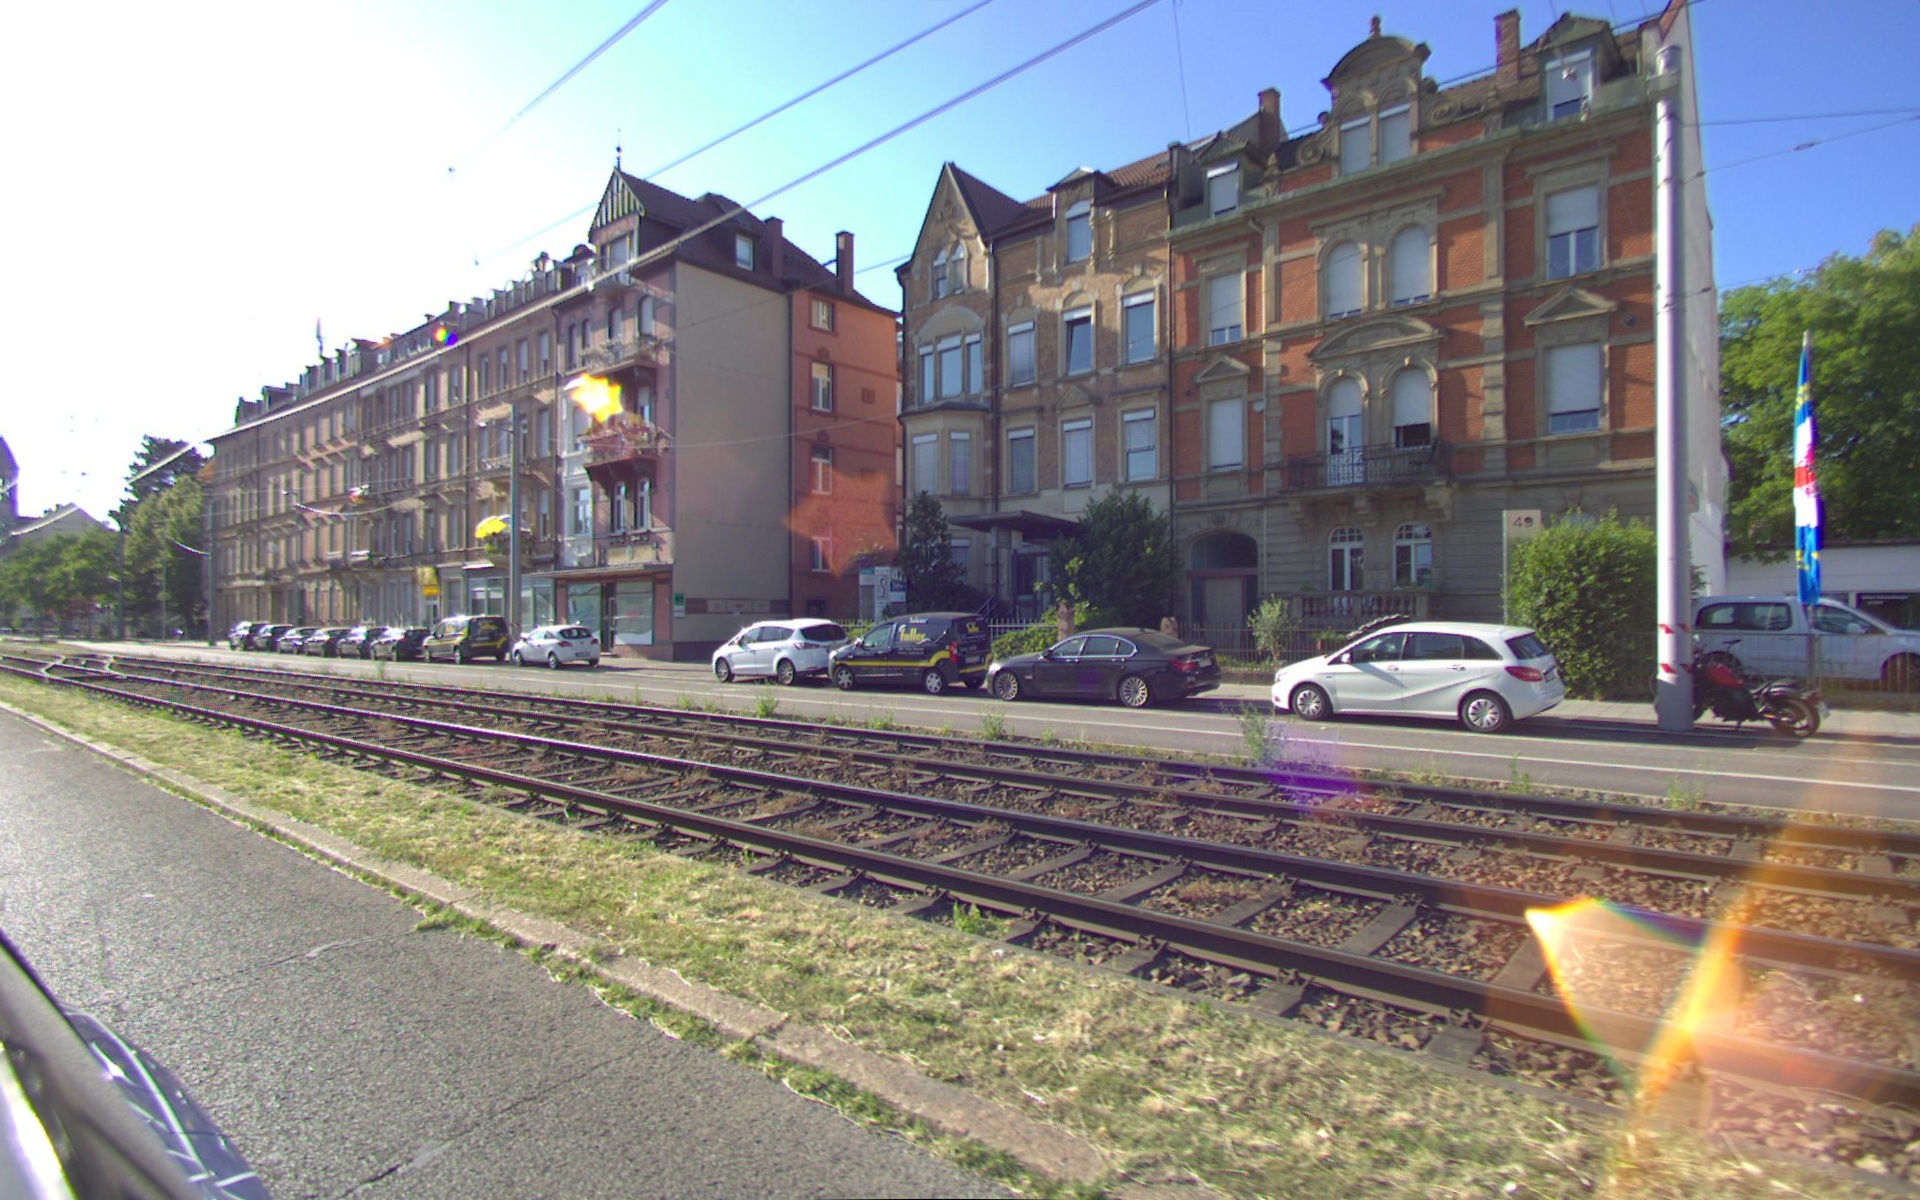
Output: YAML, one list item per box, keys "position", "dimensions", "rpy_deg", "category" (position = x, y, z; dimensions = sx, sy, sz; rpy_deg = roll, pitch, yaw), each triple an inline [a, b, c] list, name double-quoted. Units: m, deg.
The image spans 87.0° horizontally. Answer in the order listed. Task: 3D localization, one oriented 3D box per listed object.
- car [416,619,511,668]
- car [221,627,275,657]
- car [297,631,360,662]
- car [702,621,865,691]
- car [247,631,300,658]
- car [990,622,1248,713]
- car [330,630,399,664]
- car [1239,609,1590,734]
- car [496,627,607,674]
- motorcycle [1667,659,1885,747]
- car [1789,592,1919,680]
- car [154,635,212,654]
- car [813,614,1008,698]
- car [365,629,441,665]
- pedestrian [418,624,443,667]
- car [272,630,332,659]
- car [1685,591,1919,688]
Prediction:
- position: [-20.001, 1.710, 40.657]
  dimensions: [4.724, 1.821, 1.643]
  rpy_deg: [-2, 0, 40]
  category: "car"
- position: [-42.995, 2.498, 61.097]
  dimensions: [4.631, 1.655, 1.774]
  rpy_deg: [-2, 0, 44]
  category: "car"
- position: [-32.107, 2.314, 51.424]
  dimensions: [3.979, 1.457, 1.642]
  rpy_deg: [-2, 0, 41]
  category: "car"
- position: [-4.863, 1.455, 27.543]
  dimensions: [4.625, 1.696, 1.900]
  rpy_deg: [-1, -1, 42]
  category: "car"
- position: [-39.535, 2.531, 58.238]
  dimensions: [3.763, 1.457, 1.642]
  rpy_deg: [-2, 0, 41]
  category: "car"
- position: [3.091, 1.283, 20.355]
  dimensions: [4.838, 1.572, 1.901]
  rpy_deg: [-2, 0, 40]
  category: "car"
- position: [-28.239, 2.197, 47.967]
  dimensions: [3.979, 1.457, 1.642]
  rpy_deg: [-2, 0, 41]
  category: "car"
- position: [7.232, 1.057, 16.478]
  dimensions: [4.843, 1.707, 1.899]
  rpy_deg: [-2, -1, 44]
  category: "car"
- position: [-14.862, 1.773, 36.697]
  dimensions: [4.625, 1.550, 1.900]
  rpy_deg: [-1, -1, 42]
  category: "car"
- position: [10.977, 1.346, 13.698]
  dimensions: [0.815, 0.961, 2.157]
  rpy_deg: [-1, 1, -35]
  category: "motorcycle"
- position: [19.129, 0.715, 19.635]
  dimensions: [1.882, 1.668, 4.564]
  rpy_deg: [2, -1, -45]
  category: "car"
- position: [-70.817, 4.049, 92.291]
  dimensions: [3.931, 1.521, 1.806]
  rpy_deg: [-1, 1, -28]
  category: "car"
- position: [-1.255, 1.292, 24.280]
  dimensions: [4.491, 1.794, 1.903]
  rpy_deg: [-2, 0, 37]
  category: "car"
- position: [-24.285, 2.027, 44.086]
  dimensions: [3.979, 1.457, 1.642]
  rpy_deg: [-2, 0, 41]
  category: "car"
- position: [-25.435, 2.202, 48.625]
  dimensions: [0.868, 2.029, 0.634]
  rpy_deg: [-1, 0, 12]
  category: "pedestrian"
- position: [-35.427, 2.371, 54.482]
  dimensions: [4.195, 1.457, 1.642]
  rpy_deg: [-2, 0, 41]
  category: "car"
- position: [16.505, 0.698, 18.906]
  dimensions: [1.882, 1.668, 4.564]
  rpy_deg: [2, -1, -45]
  category: "car"
